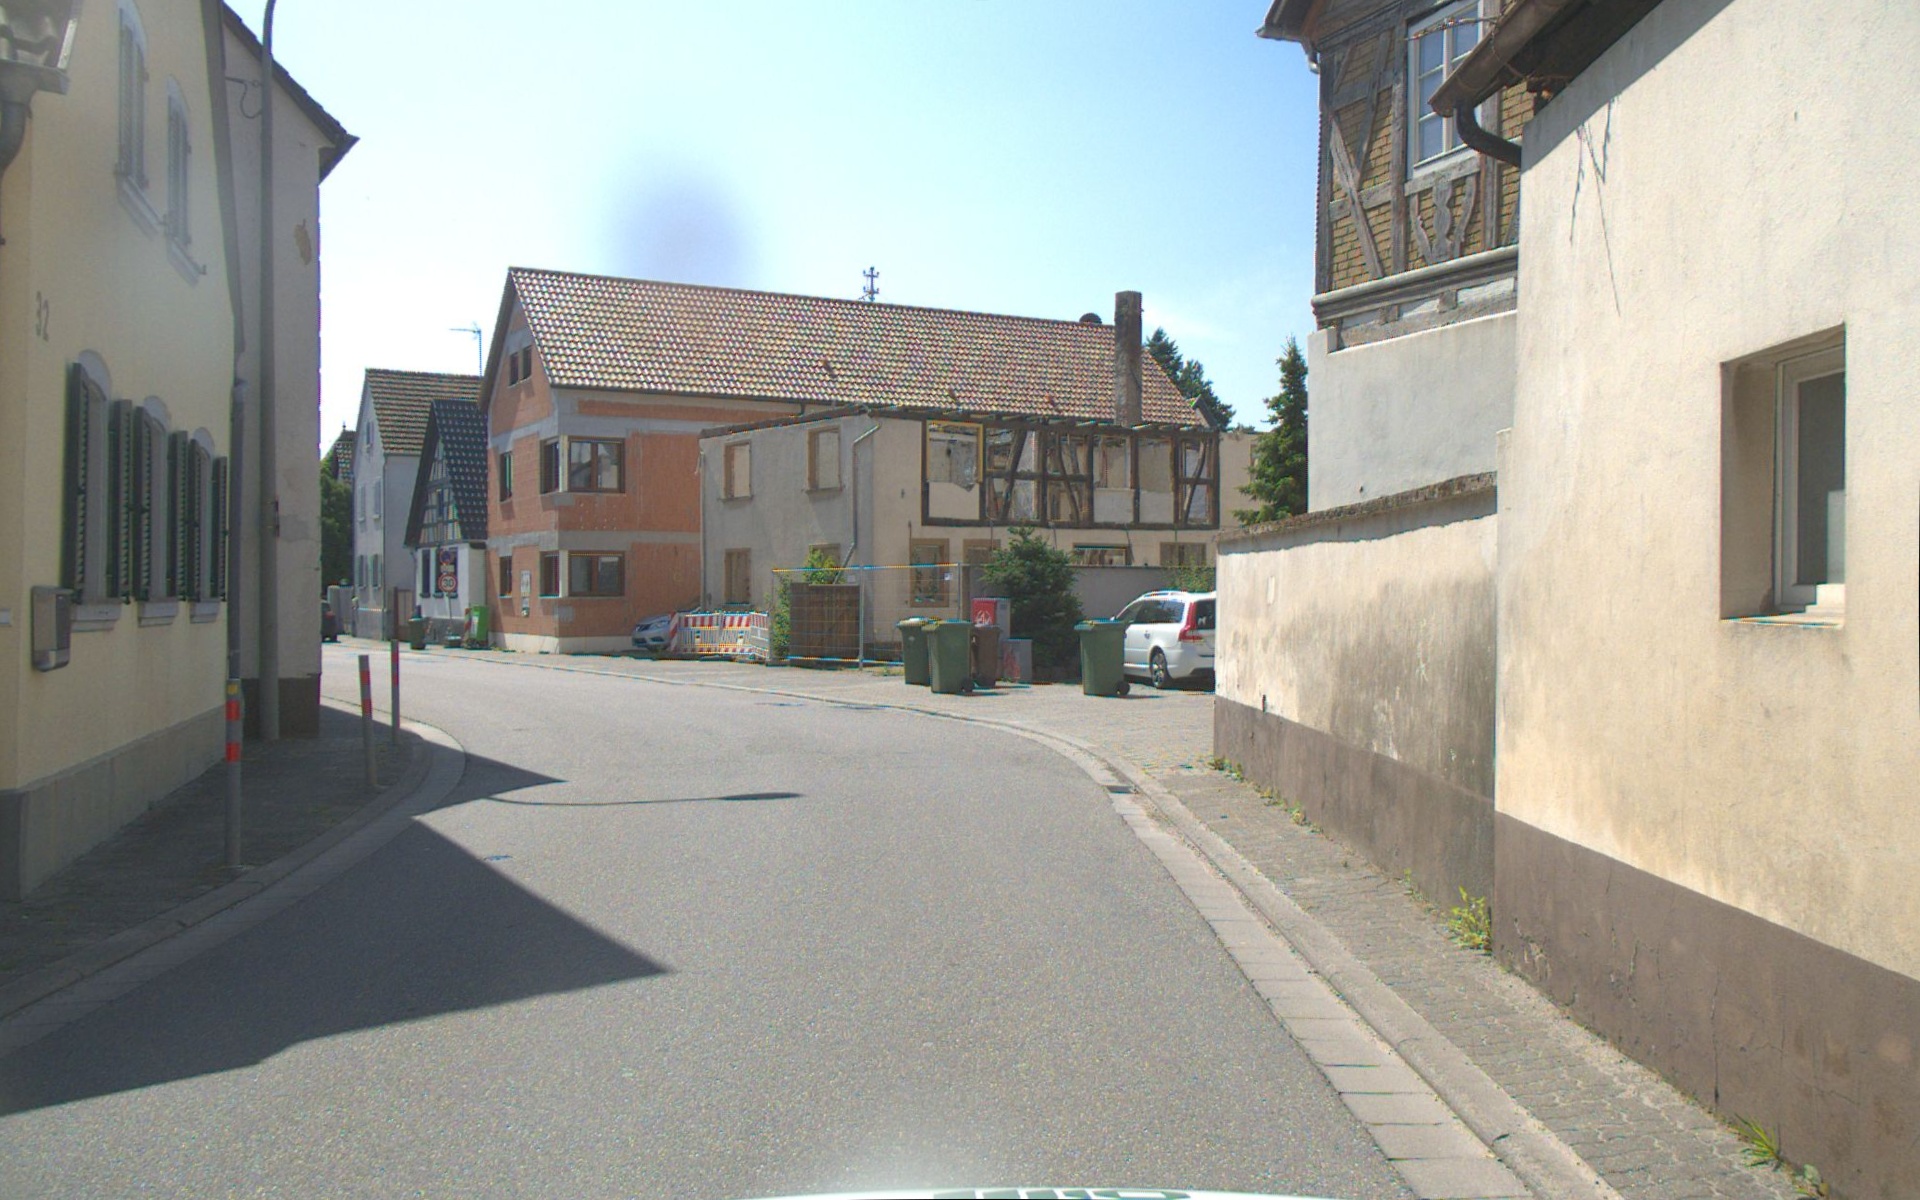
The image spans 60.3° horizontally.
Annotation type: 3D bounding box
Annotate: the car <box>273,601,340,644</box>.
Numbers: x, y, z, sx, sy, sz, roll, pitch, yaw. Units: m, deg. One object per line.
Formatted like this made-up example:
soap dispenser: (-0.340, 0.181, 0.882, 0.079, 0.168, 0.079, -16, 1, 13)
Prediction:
car: (-25.277, 0.829, 63.887, 1.779, 1.587, 4.583, 0, 0, -30)

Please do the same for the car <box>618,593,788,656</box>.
car: (-6.759, 0.613, 43.587, 4.058, 1.533, 1.846, -1, 0, -37)

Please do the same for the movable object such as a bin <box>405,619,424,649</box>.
movable object such as a bin: (-16.989, 1.062, 51.506, 0.529, 0.929, 0.549, 0, 0, -14)

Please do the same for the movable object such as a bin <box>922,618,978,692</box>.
movable object such as a bin: (-0.152, 0.838, 25.508, 0.677, 1.111, 0.633, 0, 0, -23)

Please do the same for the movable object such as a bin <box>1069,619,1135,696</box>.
movable object such as a bin: (2.096, 0.845, 24.470, 0.711, 1.100, 0.749, 0, 0, -26)

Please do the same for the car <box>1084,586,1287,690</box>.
car: (3.606, 0.561, 27.265, 1.781, 1.555, 4.278, 0, 0, -16)

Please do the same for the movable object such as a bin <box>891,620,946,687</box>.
movable object such as a bin: (-0.688, 0.894, 27.746, 0.657, 1.091, 0.761, 0, 0, 26)

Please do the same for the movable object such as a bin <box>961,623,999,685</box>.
movable object such as a bin: (0.317, 0.871, 26.861, 0.459, 0.987, 0.492, 0, 0, -24)
